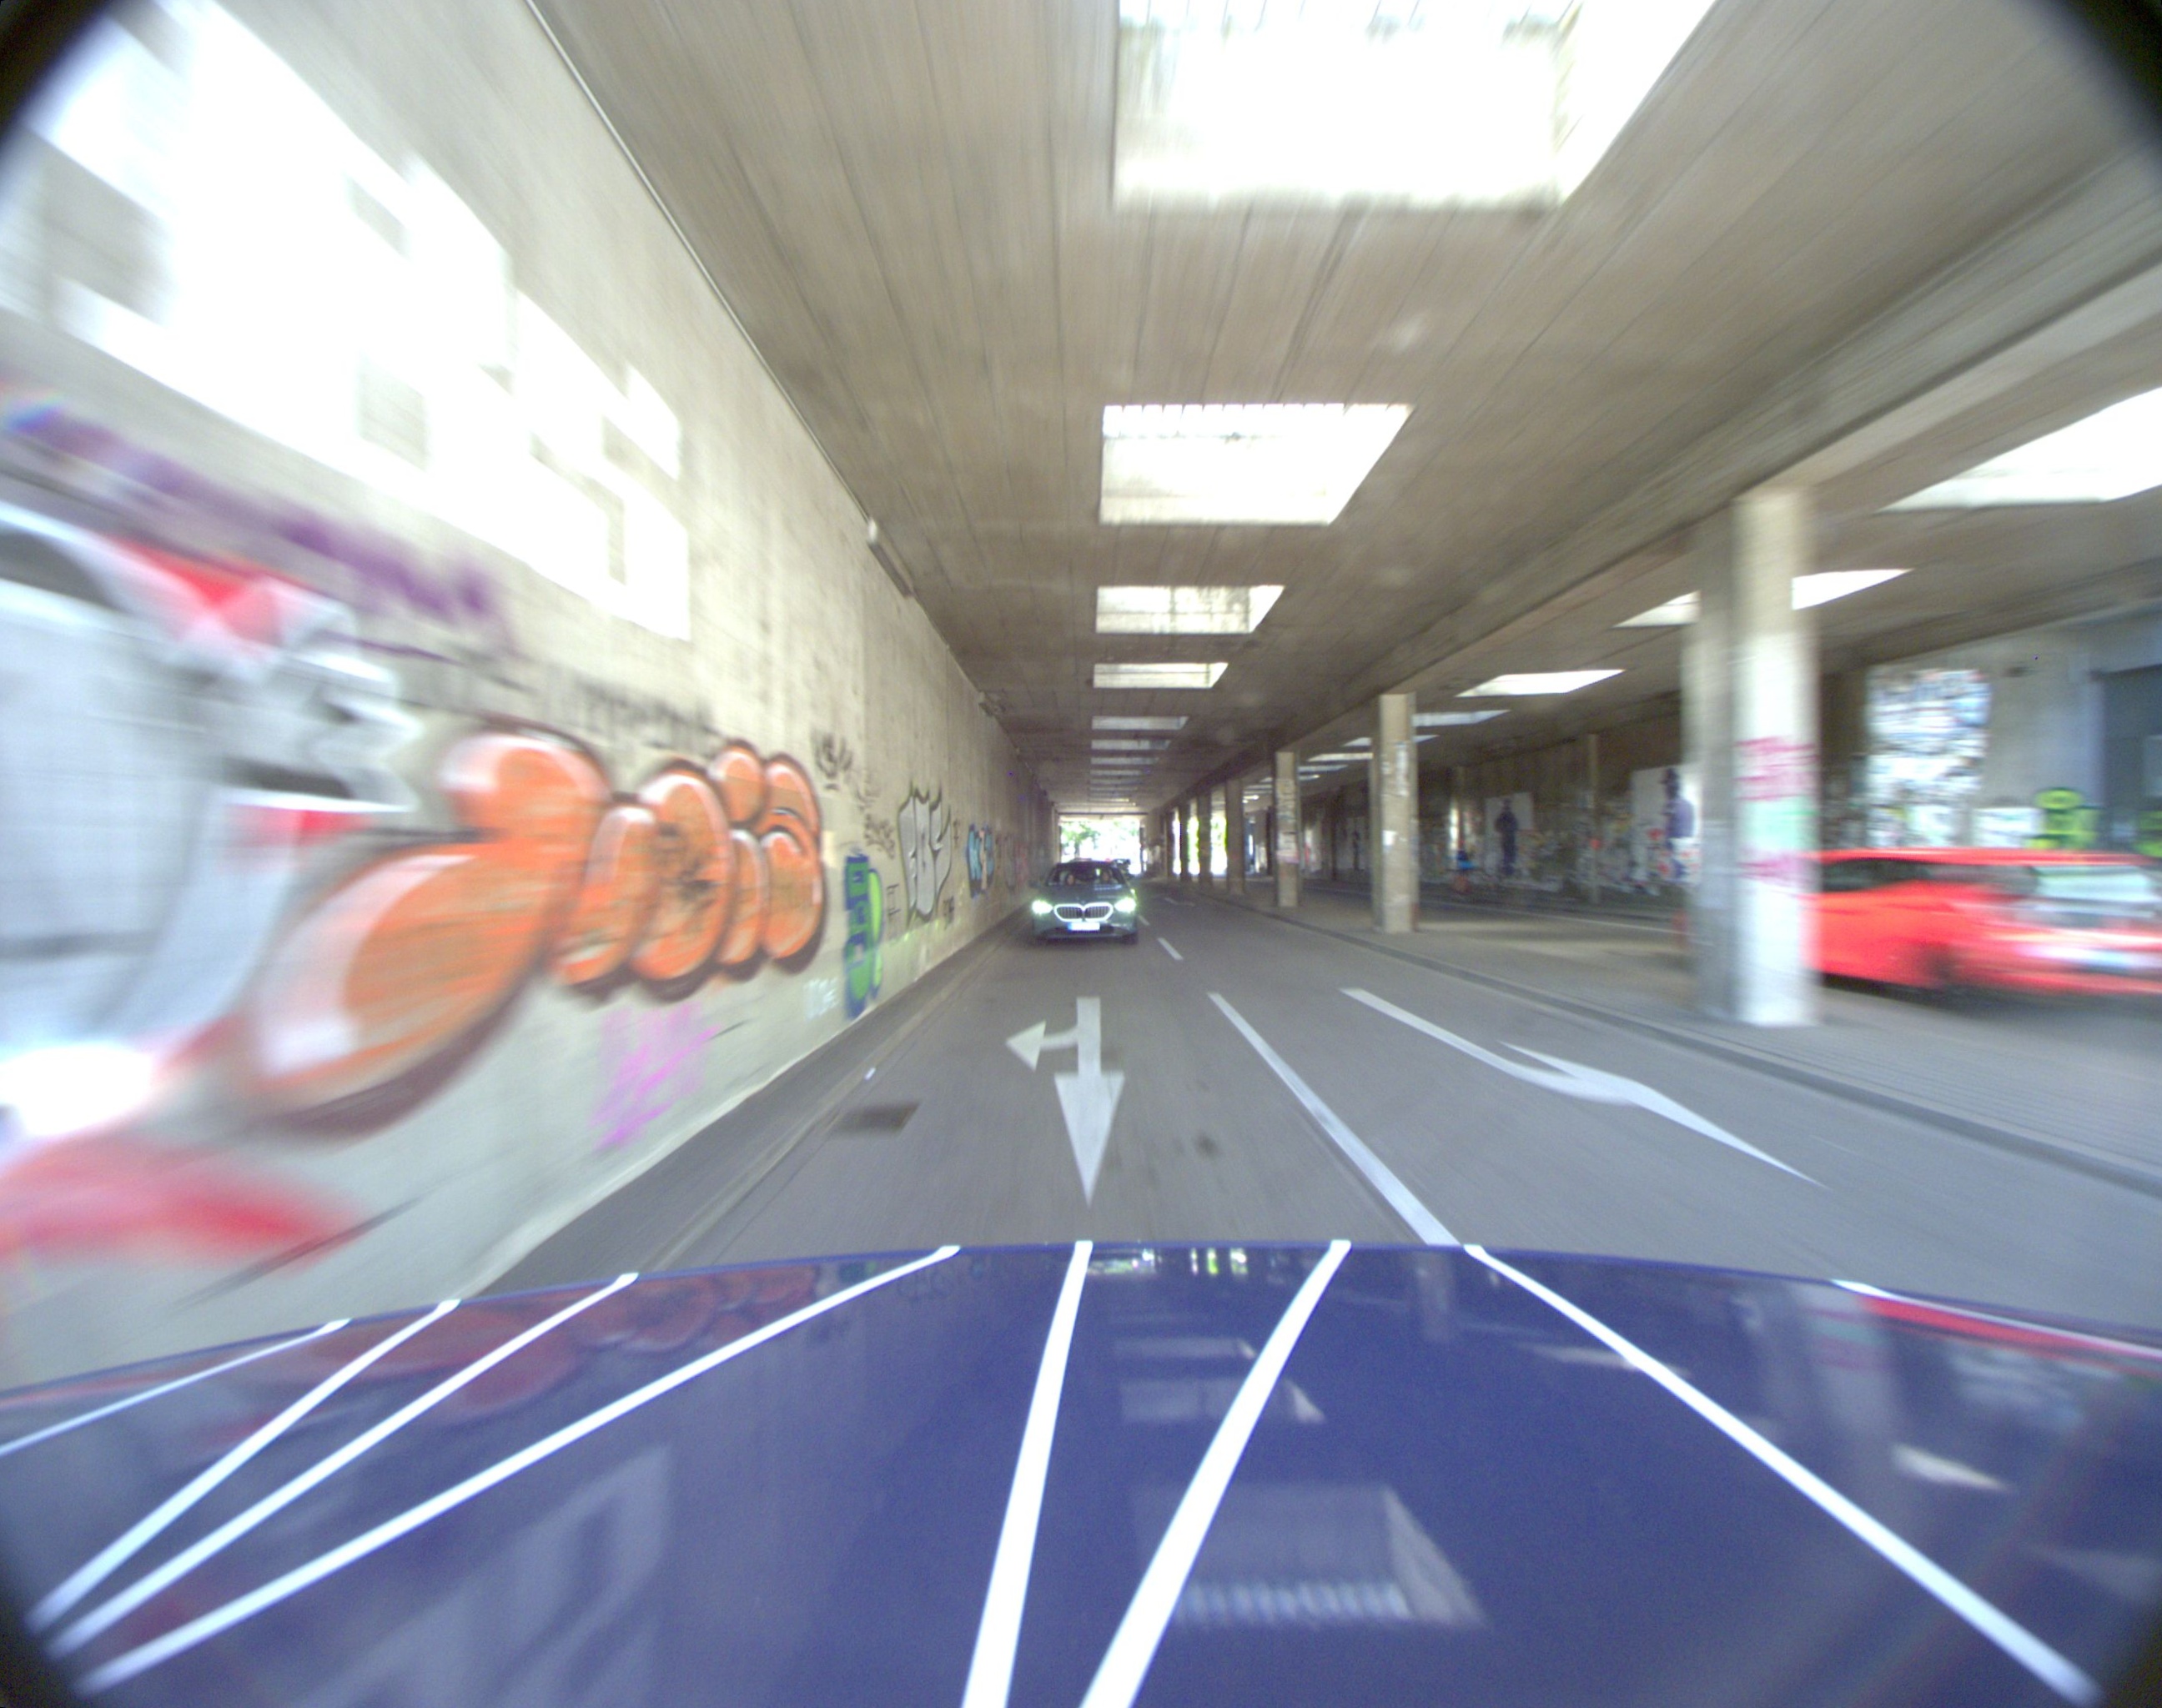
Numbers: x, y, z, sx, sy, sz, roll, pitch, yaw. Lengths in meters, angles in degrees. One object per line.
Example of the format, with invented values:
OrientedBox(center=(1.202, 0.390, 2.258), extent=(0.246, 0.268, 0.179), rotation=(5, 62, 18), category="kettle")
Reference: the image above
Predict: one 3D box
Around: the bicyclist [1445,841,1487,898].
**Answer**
OrientedBox(center=(11.707, 0.475, 23.151), extent=(0.747, 1.701, 0.967), rotation=(-1, -1, 0), category="bicyclist")

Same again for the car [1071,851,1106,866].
OrientedBox(center=(0.962, 0.558, 95.453), extent=(4.331, 1.712, 1.859), rotation=(-1, 0, -1), category="car")

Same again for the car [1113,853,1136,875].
OrientedBox(center=(3.207, 0.719, 56.436), extent=(1.616, 1.546, 4.013), rotation=(-1, 0, 2), category="car")

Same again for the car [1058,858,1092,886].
OrientedBox(center=(-0.268, 0.939, 40.423), extent=(1.616, 1.367, 4.200), rotation=(-1, 0, 2), category="car")

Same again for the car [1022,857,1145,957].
OrientedBox(center=(0.121, 0.891, 15.084), extent=(1.957, 1.546, 5.041), rotation=(-3, 0, 2), category="car")

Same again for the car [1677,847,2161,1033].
OrientedBox(center=(8.153, 0.672, 7.636), extent=(1.661, 1.433, 3.463), rotation=(-1, 0, 1), category="car")

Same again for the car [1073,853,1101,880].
OrientedBox(center=(0.390, 0.723, 46.492), extent=(1.616, 1.546, 4.013), rotation=(-1, 0, 2), category="car")

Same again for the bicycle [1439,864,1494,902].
OrientedBox(center=(11.728, 0.882, 23.186), extent=(0.700, 1.083, 1.860), rotation=(-1, -2, 0), category="bicycle")
